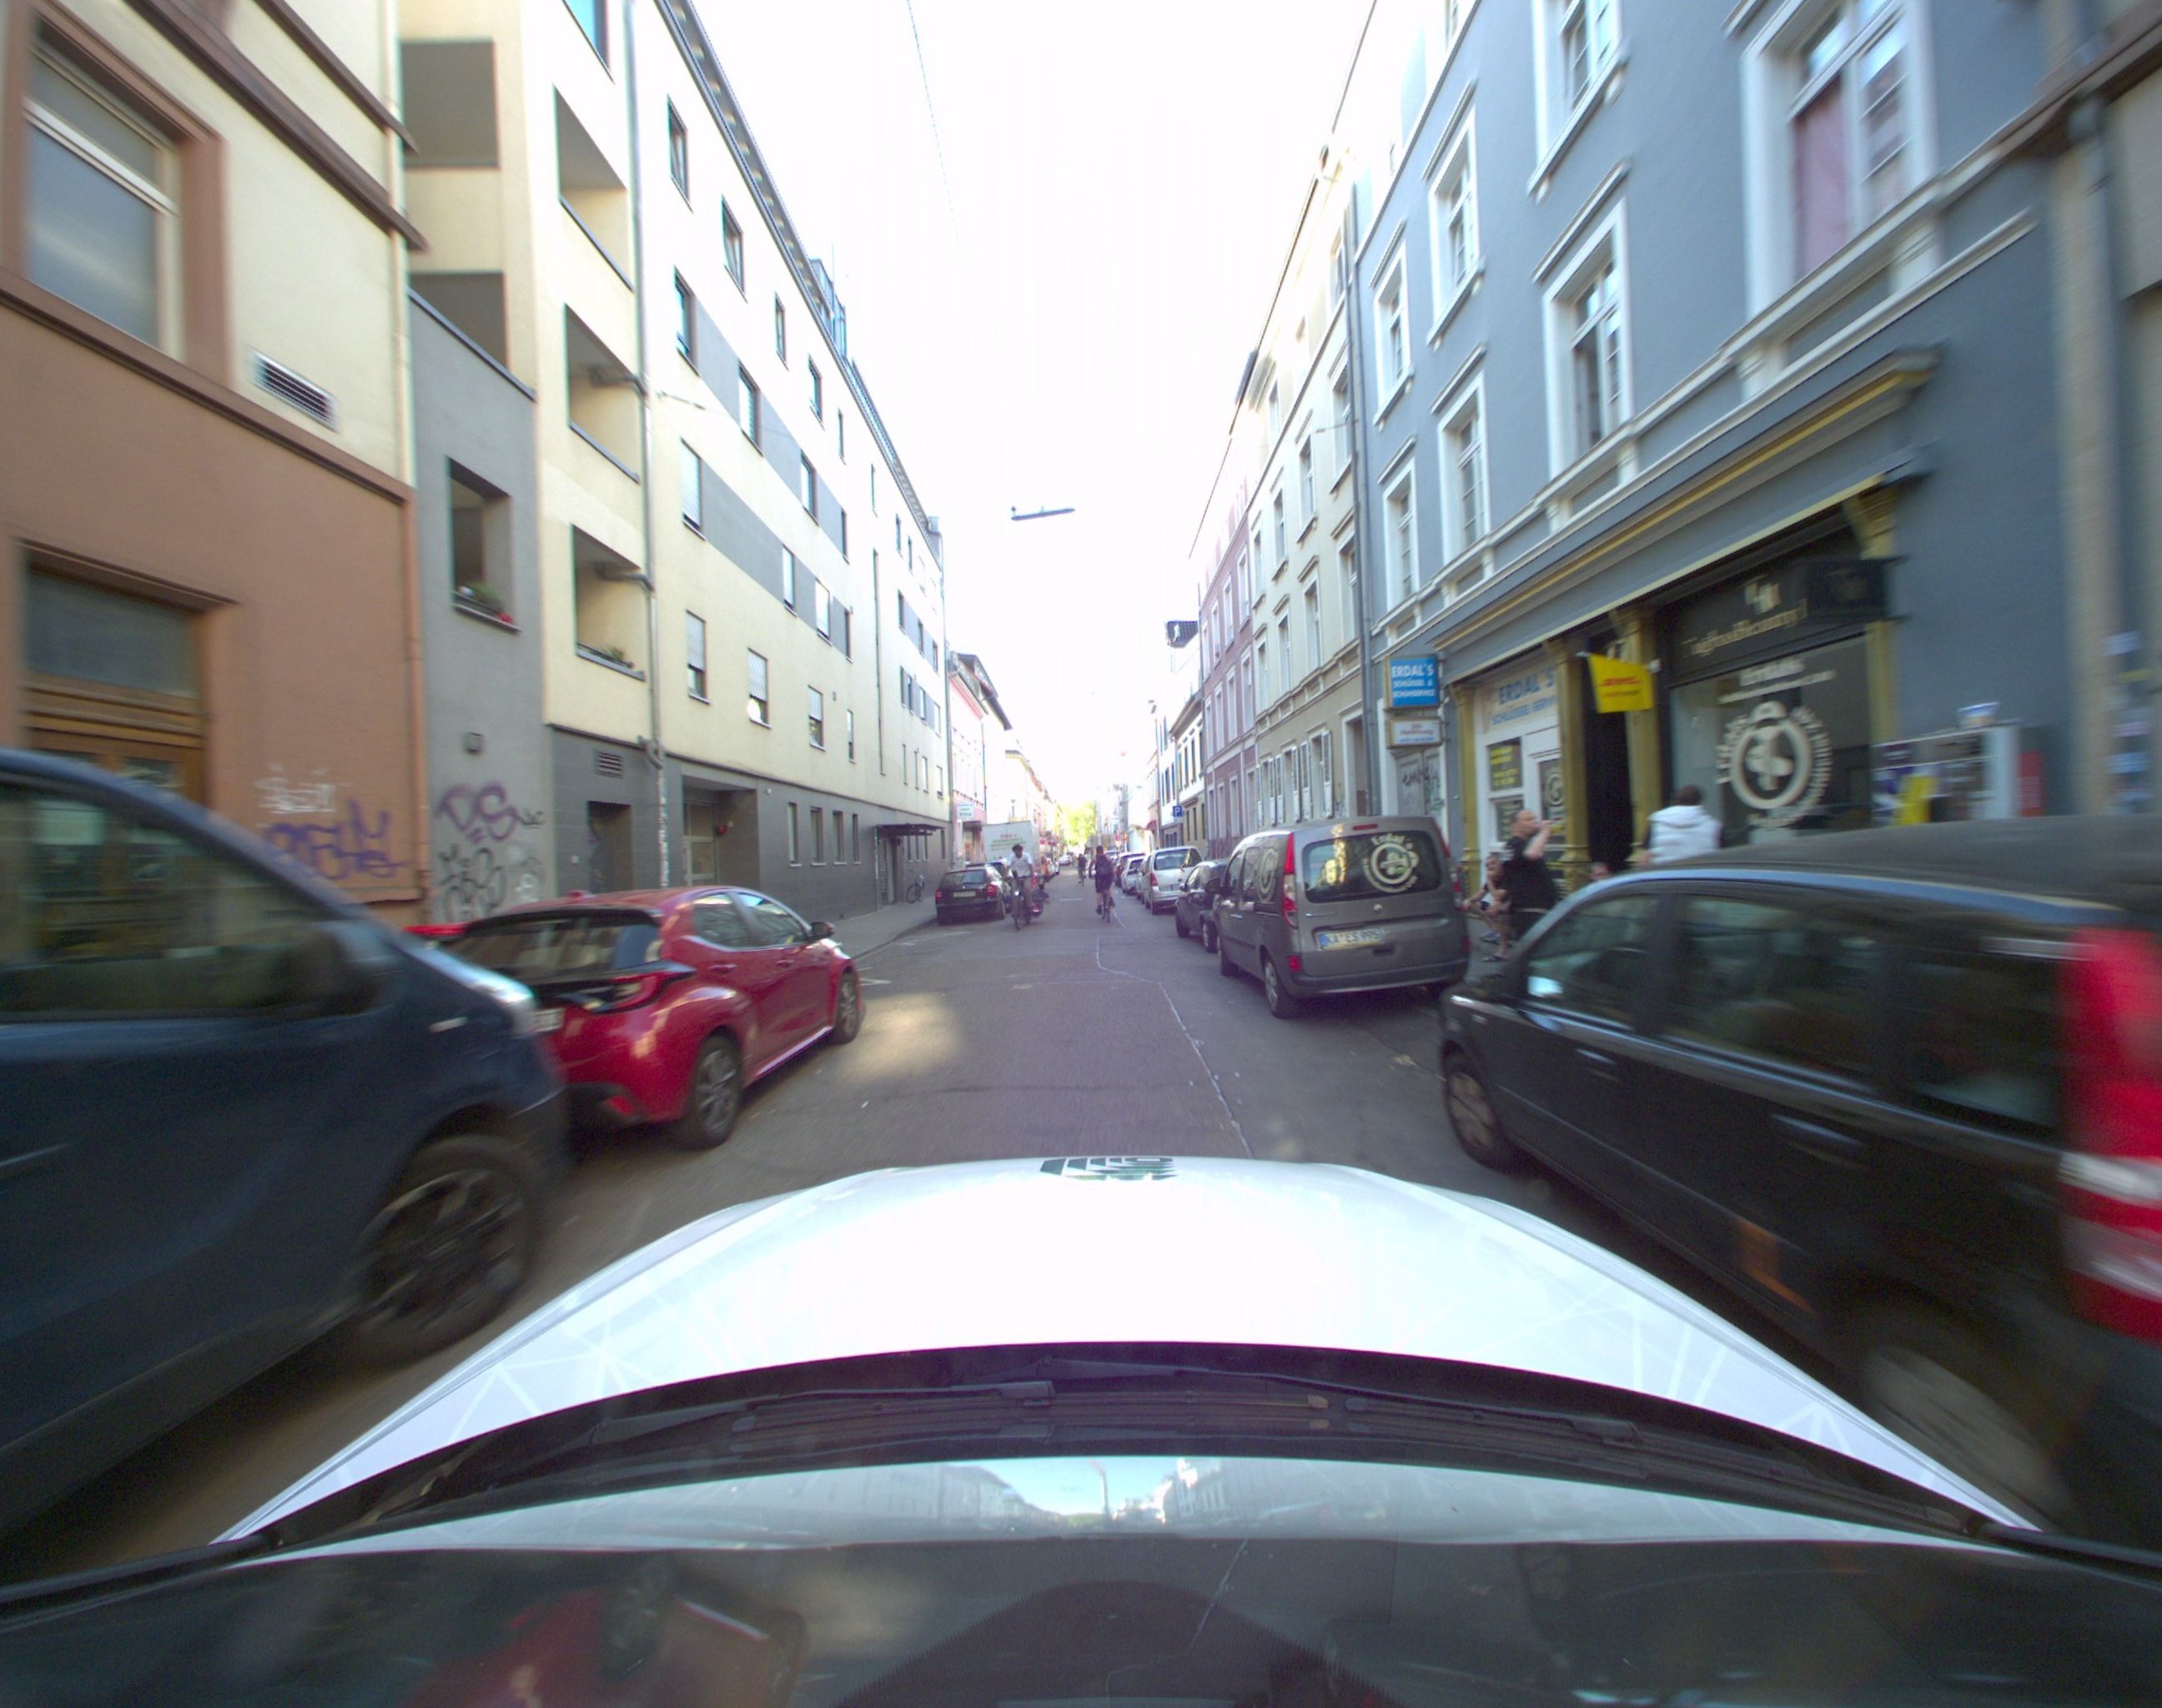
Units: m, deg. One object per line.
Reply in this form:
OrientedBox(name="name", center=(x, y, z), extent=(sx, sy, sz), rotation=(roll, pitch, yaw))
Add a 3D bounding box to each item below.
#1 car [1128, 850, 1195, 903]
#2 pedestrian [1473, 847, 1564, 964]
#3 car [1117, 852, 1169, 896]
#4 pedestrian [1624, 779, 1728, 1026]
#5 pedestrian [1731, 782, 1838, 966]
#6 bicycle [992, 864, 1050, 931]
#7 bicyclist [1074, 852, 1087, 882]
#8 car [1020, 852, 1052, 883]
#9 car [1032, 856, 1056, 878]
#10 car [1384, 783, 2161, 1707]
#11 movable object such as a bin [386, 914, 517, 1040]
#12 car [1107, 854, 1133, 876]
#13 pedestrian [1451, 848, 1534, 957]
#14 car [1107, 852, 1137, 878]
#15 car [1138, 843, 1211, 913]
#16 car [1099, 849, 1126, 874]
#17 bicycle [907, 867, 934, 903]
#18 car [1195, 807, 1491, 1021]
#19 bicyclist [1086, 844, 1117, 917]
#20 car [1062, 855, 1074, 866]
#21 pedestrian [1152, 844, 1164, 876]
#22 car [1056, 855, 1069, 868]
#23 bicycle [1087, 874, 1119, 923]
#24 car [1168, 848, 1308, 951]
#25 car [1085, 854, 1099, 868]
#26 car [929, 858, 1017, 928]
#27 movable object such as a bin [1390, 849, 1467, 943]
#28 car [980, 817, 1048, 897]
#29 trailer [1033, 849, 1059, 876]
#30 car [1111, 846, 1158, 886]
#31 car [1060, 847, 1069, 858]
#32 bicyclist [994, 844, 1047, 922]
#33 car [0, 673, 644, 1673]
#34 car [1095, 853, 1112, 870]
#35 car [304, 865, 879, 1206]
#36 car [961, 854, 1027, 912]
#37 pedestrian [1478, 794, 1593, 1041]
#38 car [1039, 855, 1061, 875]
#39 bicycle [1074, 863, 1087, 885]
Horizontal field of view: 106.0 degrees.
OrientedBox(name="car", center=(2.643, 0.721, 27.767), extent=(1.692, 1.543, 4.627), rotation=(-4, -1, 0))
OrientedBox(name="pedestrian", center=(4.986, 0.566, 9.312), extent=(0.673, 1.277, 0.654), rotation=(-1, -1, 2))
OrientedBox(name="car", center=(2.450, 0.777, 33.136), extent=(1.681, 1.543, 4.045), rotation=(-4, -1, -1))
OrientedBox(name="pedestrian", center=(4.406, 0.344, 6.060), extent=(0.555, 1.740, 0.430), rotation=(-2, -1, 33))
OrientedBox(name="pedestrian", center=(4.974, 0.136, 5.781), extent=(0.525, 1.222, 0.518), rotation=(-2, -1, 39))
OrientedBox(name="bicycle", center=(-1.312, 0.932, 18.481), extent=(0.974, 1.314, 2.556), rotation=(-4, 0, 2))
OrientedBox(name="bicyclist", center=(-0.034, 0.679, 43.605), extent=(0.669, 1.567, 0.716), rotation=(-1, -1, -2))
OrientedBox(name="car", center=(-2.877, 0.868, 52.736), extent=(1.747, 1.816, 4.076), rotation=(-4, -1, -1))
OrientedBox(name="car", center=(-2.884, 1.004, 63.586), extent=(1.648, 1.537, 3.633), rotation=(-3, -1, 0))
OrientedBox(name="car", center=(2.519, 0.644, 2.968), extent=(1.564, 1.556, 3.315), rotation=(-5, -1, 2))
OrientedBox(name="movable object such as a bin", center=(-5.845, 1.111, 7.582), extent=(0.752, 1.067, 0.655), rotation=(-2, -1, 19))
OrientedBox(name="car", center=(2.803, 0.796, 59.738), extent=(1.744, 1.487, 3.800), rotation=(-3, -1, 1))
OrientedBox(name="pedestrian", center=(5.037, 0.581, 9.998), extent=(0.673, 1.277, 0.628), rotation=(-1, -1, 2))
OrientedBox(name="car", center=(2.673, 0.743, 53.820), extent=(1.641, 1.475, 3.970), rotation=(-6, -1, 0))
OrientedBox(name="car", center=(2.477, 0.621, 22.283), extent=(1.552, 1.712, 3.557), rotation=(-1, -1, -1))
OrientedBox(name="car", center=(2.478, 0.615, 64.800), extent=(1.746, 1.878, 3.969), rotation=(-3, -1, -2))
OrientedBox(name="bicycle", center=(-5.731, 1.094, 29.087), extent=(0.488, 1.164, 1.773), rotation=(-4, 0, 1))
OrientedBox(name="car", center=(2.556, 0.536, 9.161), extent=(1.893, 1.793, 4.314), rotation=(-1, -1, 0))
OrientedBox(name="bicyclist", center=(0.487, 0.613, 19.339), extent=(0.665, 1.677, 1.097), rotation=(-1, -1, -1))
OrientedBox(name="car", center=(-2.207, 1.161, 138.841), extent=(1.745, 1.821, 3.795), rotation=(-3, -1, 0))
OrientedBox(name="pedestrian", center=(4.834, 0.377, 51.481), extent=(0.642, 2.014, 0.763), rotation=(-1, -1, -1))
OrientedBox(name="car", center=(-2.685, 1.118, 121.343), extent=(1.745, 1.683, 3.795), rotation=(-3, -1, 0))
OrientedBox(name="bicycle", center=(0.496, 1.034, 19.353), extent=(0.675, 1.074, 1.941), rotation=(-1, -1, 0))
OrientedBox(name="car", center=(2.551, 0.696, 14.048), extent=(1.548, 1.511, 3.608), rotation=(-1, -1, -3))
OrientedBox(name="car", center=(1.257, 0.840, 98.453), extent=(1.606, 1.560, 3.609), rotation=(-1, -1, 0))
OrientedBox(name="car", center=(-2.826, 0.964, 22.199), extent=(1.711, 1.478, 4.498), rotation=(-5, 1, -1))
OrientedBox(name="movable object such as a bin", center=(4.885, 0.579, 11.475), extent=(0.760, 1.243, 0.580), rotation=(-3, -1, -3))
OrientedBox(name="car", center=(-3.024, 0.149, 38.589), extent=(2.336, 3.291, 7.154), rotation=(-4, -1, 1))
OrientedBox(name="trailer", center=(-2.921, 0.740, 67.999), extent=(1.876, 2.092, 3.736), rotation=(-3, -1, 0))
OrientedBox(name="car", center=(2.649, 0.600, 41.225), extent=(1.912, 1.705, 4.365), rotation=(-7, -1, 0))
OrientedBox(name="car", center=(-3.650, -0.352, 178.384), extent=(1.745, 2.318, 3.795), rotation=(-3, -1, 0))
OrientedBox(name="bicyclist", center=(-1.341, 0.633, 18.253), extent=(0.947, 1.628, 0.953), rotation=(-4, 0, 2))
OrientedBox(name="car", center=(-3.063, 0.618, 1.026), extent=(2.013, 1.879, 5.298), rotation=(-1, 0, 1))
OrientedBox(name="car", center=(2.244, 0.717, 81.983), extent=(1.606, 1.633, 3.609), rotation=(-1, -1, 0))
OrientedBox(name="car", center=(-2.916, 0.924, 5.985), extent=(1.745, 1.522, 3.868), rotation=(-5, -1, 0))
OrientedBox(name="car", center=(-2.913, 0.912, 28.057), extent=(1.711, 1.650, 4.244), rotation=(-5, 1, -1))
OrientedBox(name="pedestrian", center=(3.318, 0.444, 5.989), extent=(0.439, 1.704, 0.654), rotation=(-1, -1, 0))
OrientedBox(name="car", center=(-2.704, 0.963, 72.328), extent=(1.745, 1.573, 3.795), rotation=(-3, -1, 0))
OrientedBox(name="bicycle", center=(-0.008, 1.062, 43.577), extent=(0.646, 1.129, 2.135), rotation=(-1, -1, 0))
